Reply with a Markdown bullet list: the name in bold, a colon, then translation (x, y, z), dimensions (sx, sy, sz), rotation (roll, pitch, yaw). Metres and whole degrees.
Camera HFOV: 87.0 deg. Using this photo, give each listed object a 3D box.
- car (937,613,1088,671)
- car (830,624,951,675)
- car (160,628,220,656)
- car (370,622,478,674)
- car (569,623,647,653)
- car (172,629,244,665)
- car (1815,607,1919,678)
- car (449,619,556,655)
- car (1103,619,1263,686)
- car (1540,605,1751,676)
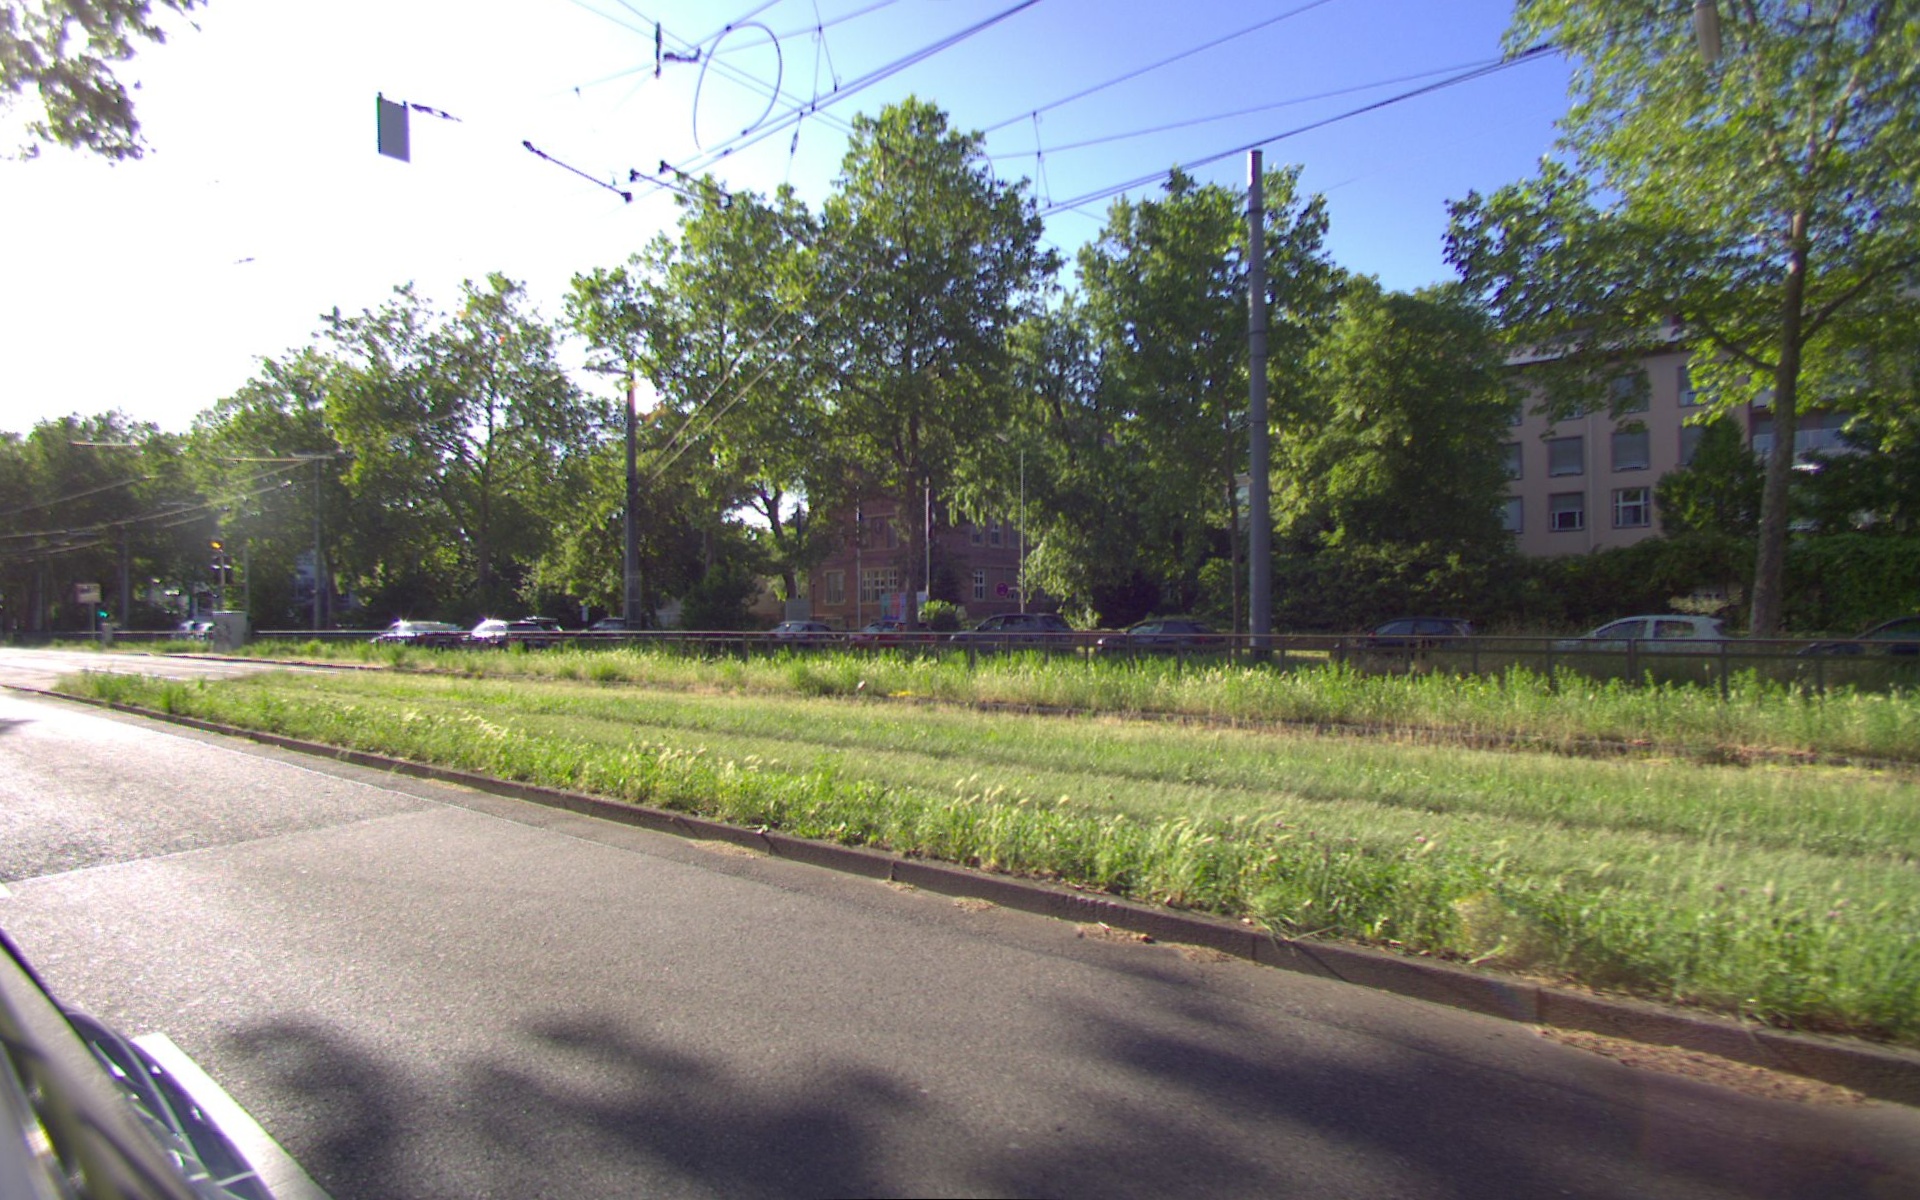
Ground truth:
- **car**: translation (1.660, 1.357, 32.774), dimensions (4.506, 1.696, 1.975), rotation (-3, 0, 37)
- **car**: translation (-2.529, 1.753, 36.333), dimensions (3.994, 1.634, 1.975), rotation (-3, 0, 37)
- **car**: translation (-48.090, 2.625, 63.178), dimensions (4.592, 1.631, 1.867), rotation (-3, 0, 39)
- **car**: translation (-18.125, 1.618, 34.160), dimensions (4.044, 1.563, 1.776), rotation (-3, 0, 40)
- **car**: translation (-16.411, 1.749, 47.130), dimensions (4.021, 1.232, 1.579), rotation (-1, 1, 40)
- **car**: translation (-36.593, 2.287, 49.239), dimensions (3.869, 1.541, 1.827), rotation (-3, 0, 38)
- **car**: translation (17.820, 0.754, 18.424), dimensions (3.355, 1.238, 1.393), rotation (-2, -1, 38)
- **car**: translation (-16.516, 1.330, 36.443), dimensions (4.704, 1.143, 1.672), rotation (-3, 0, 41)
- **car**: translation (6.292, 1.468, 28.758), dimensions (3.995, 1.696, 1.804), rotation (-3, 0, 39)
- **car**: translation (14.349, 0.841, 21.270), dimensions (3.500, 1.322, 1.552), rotation (-3, 0, 40)
